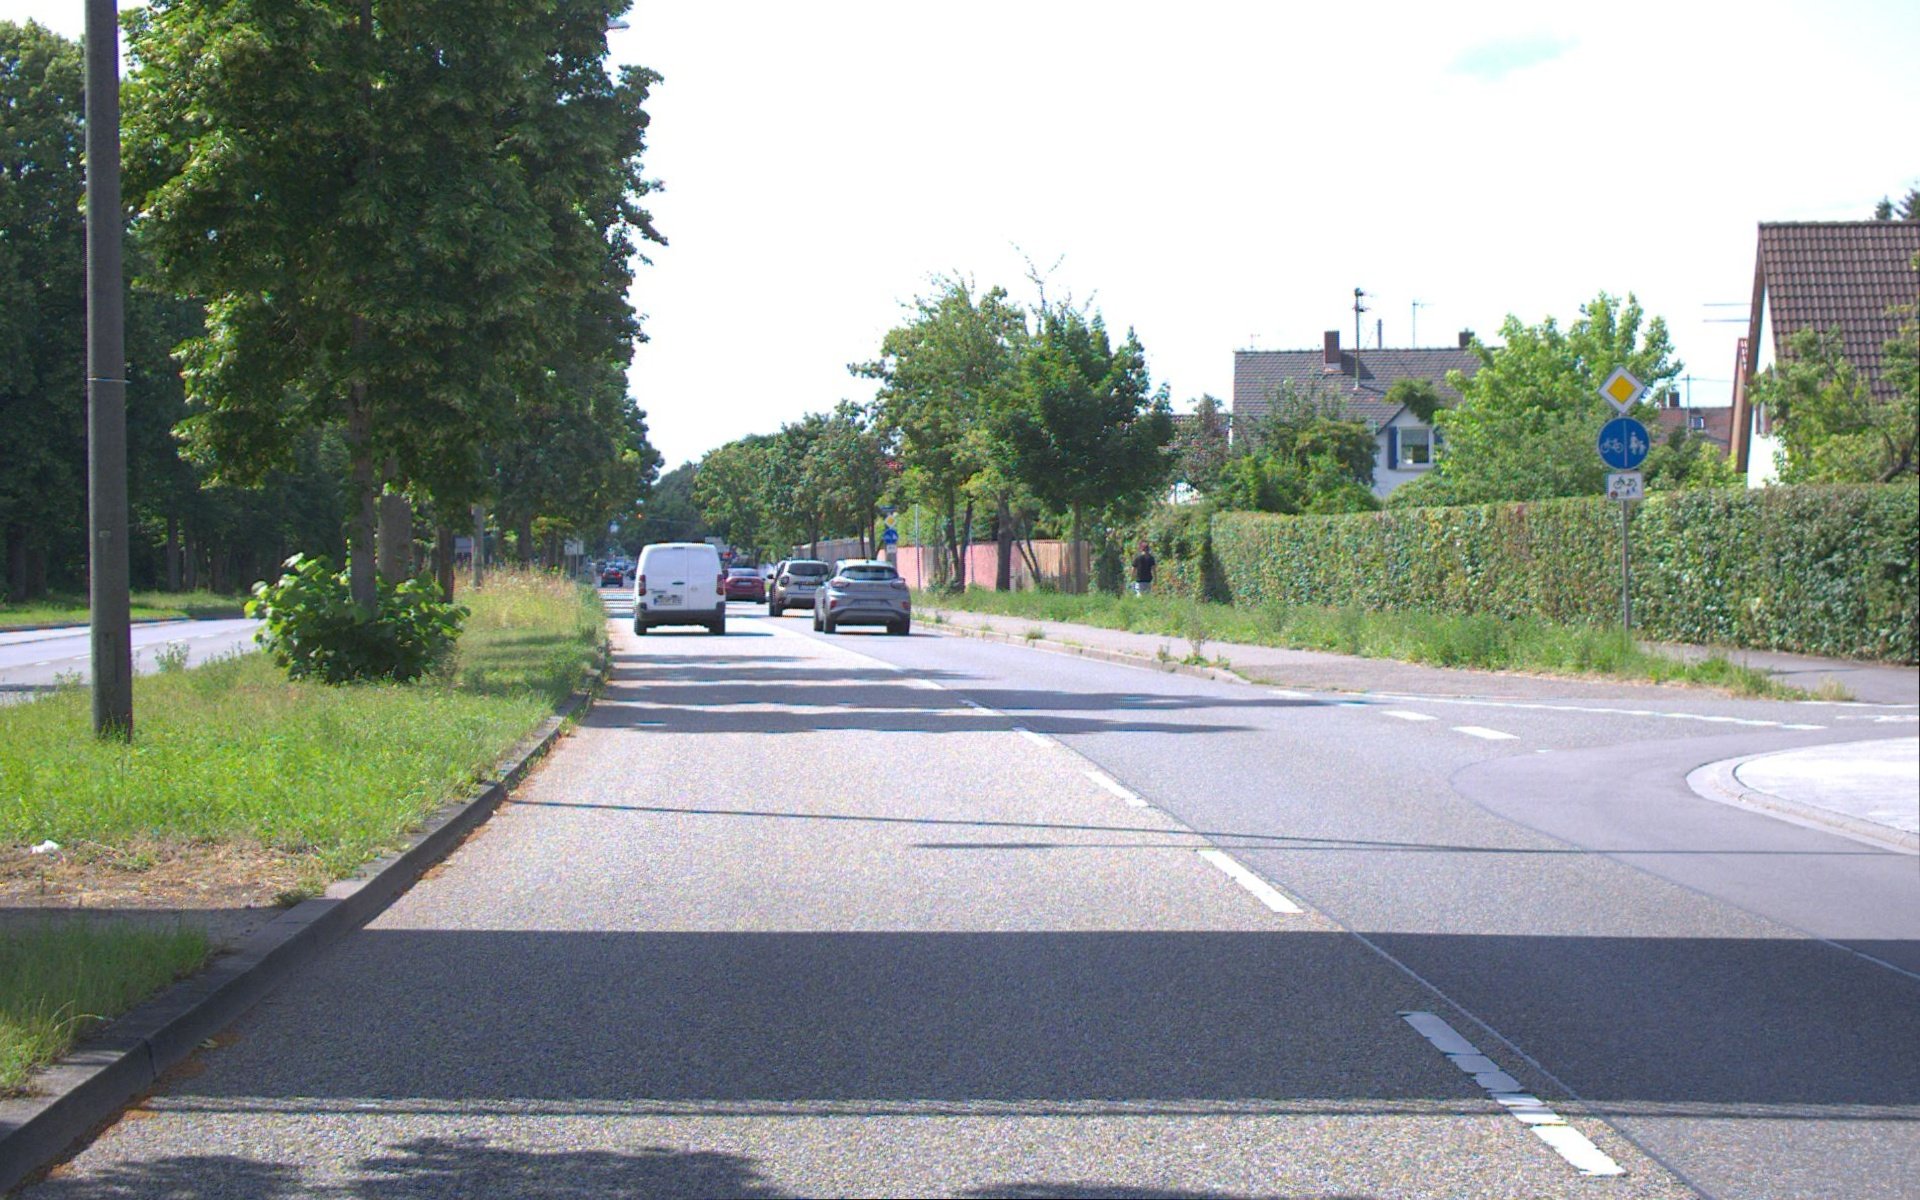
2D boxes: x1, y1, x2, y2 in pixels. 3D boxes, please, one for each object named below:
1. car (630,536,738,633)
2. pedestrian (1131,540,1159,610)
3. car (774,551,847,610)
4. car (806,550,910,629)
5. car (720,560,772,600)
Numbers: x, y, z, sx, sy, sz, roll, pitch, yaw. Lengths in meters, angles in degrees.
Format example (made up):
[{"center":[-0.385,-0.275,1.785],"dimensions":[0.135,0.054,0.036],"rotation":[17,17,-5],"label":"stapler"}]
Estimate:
[{"center":[-5.614,-0.333,69.542],"dimensions":[2.065,1.905,4.647],"rotation":[0,1,-6],"label":"car"},{"center":[4.430,-0.604,82.446],"dimensions":[0.560,1.671,0.634],"rotation":[0,1,-6],"label":"pedestrian"},{"center":[-4.294,-0.562,98.233],"dimensions":[1.875,1.646,4.001],"rotation":[0,0,-6],"label":"car"},{"center":[-2.163,-0.231,71.649],"dimensions":[1.875,1.583,4.185],"rotation":[0,0,-6],"label":"car"},{"center":[-8.535,-0.806,136.932],"dimensions":[1.880,1.582,4.001],"rotation":[0,1,-6],"label":"car"}]
